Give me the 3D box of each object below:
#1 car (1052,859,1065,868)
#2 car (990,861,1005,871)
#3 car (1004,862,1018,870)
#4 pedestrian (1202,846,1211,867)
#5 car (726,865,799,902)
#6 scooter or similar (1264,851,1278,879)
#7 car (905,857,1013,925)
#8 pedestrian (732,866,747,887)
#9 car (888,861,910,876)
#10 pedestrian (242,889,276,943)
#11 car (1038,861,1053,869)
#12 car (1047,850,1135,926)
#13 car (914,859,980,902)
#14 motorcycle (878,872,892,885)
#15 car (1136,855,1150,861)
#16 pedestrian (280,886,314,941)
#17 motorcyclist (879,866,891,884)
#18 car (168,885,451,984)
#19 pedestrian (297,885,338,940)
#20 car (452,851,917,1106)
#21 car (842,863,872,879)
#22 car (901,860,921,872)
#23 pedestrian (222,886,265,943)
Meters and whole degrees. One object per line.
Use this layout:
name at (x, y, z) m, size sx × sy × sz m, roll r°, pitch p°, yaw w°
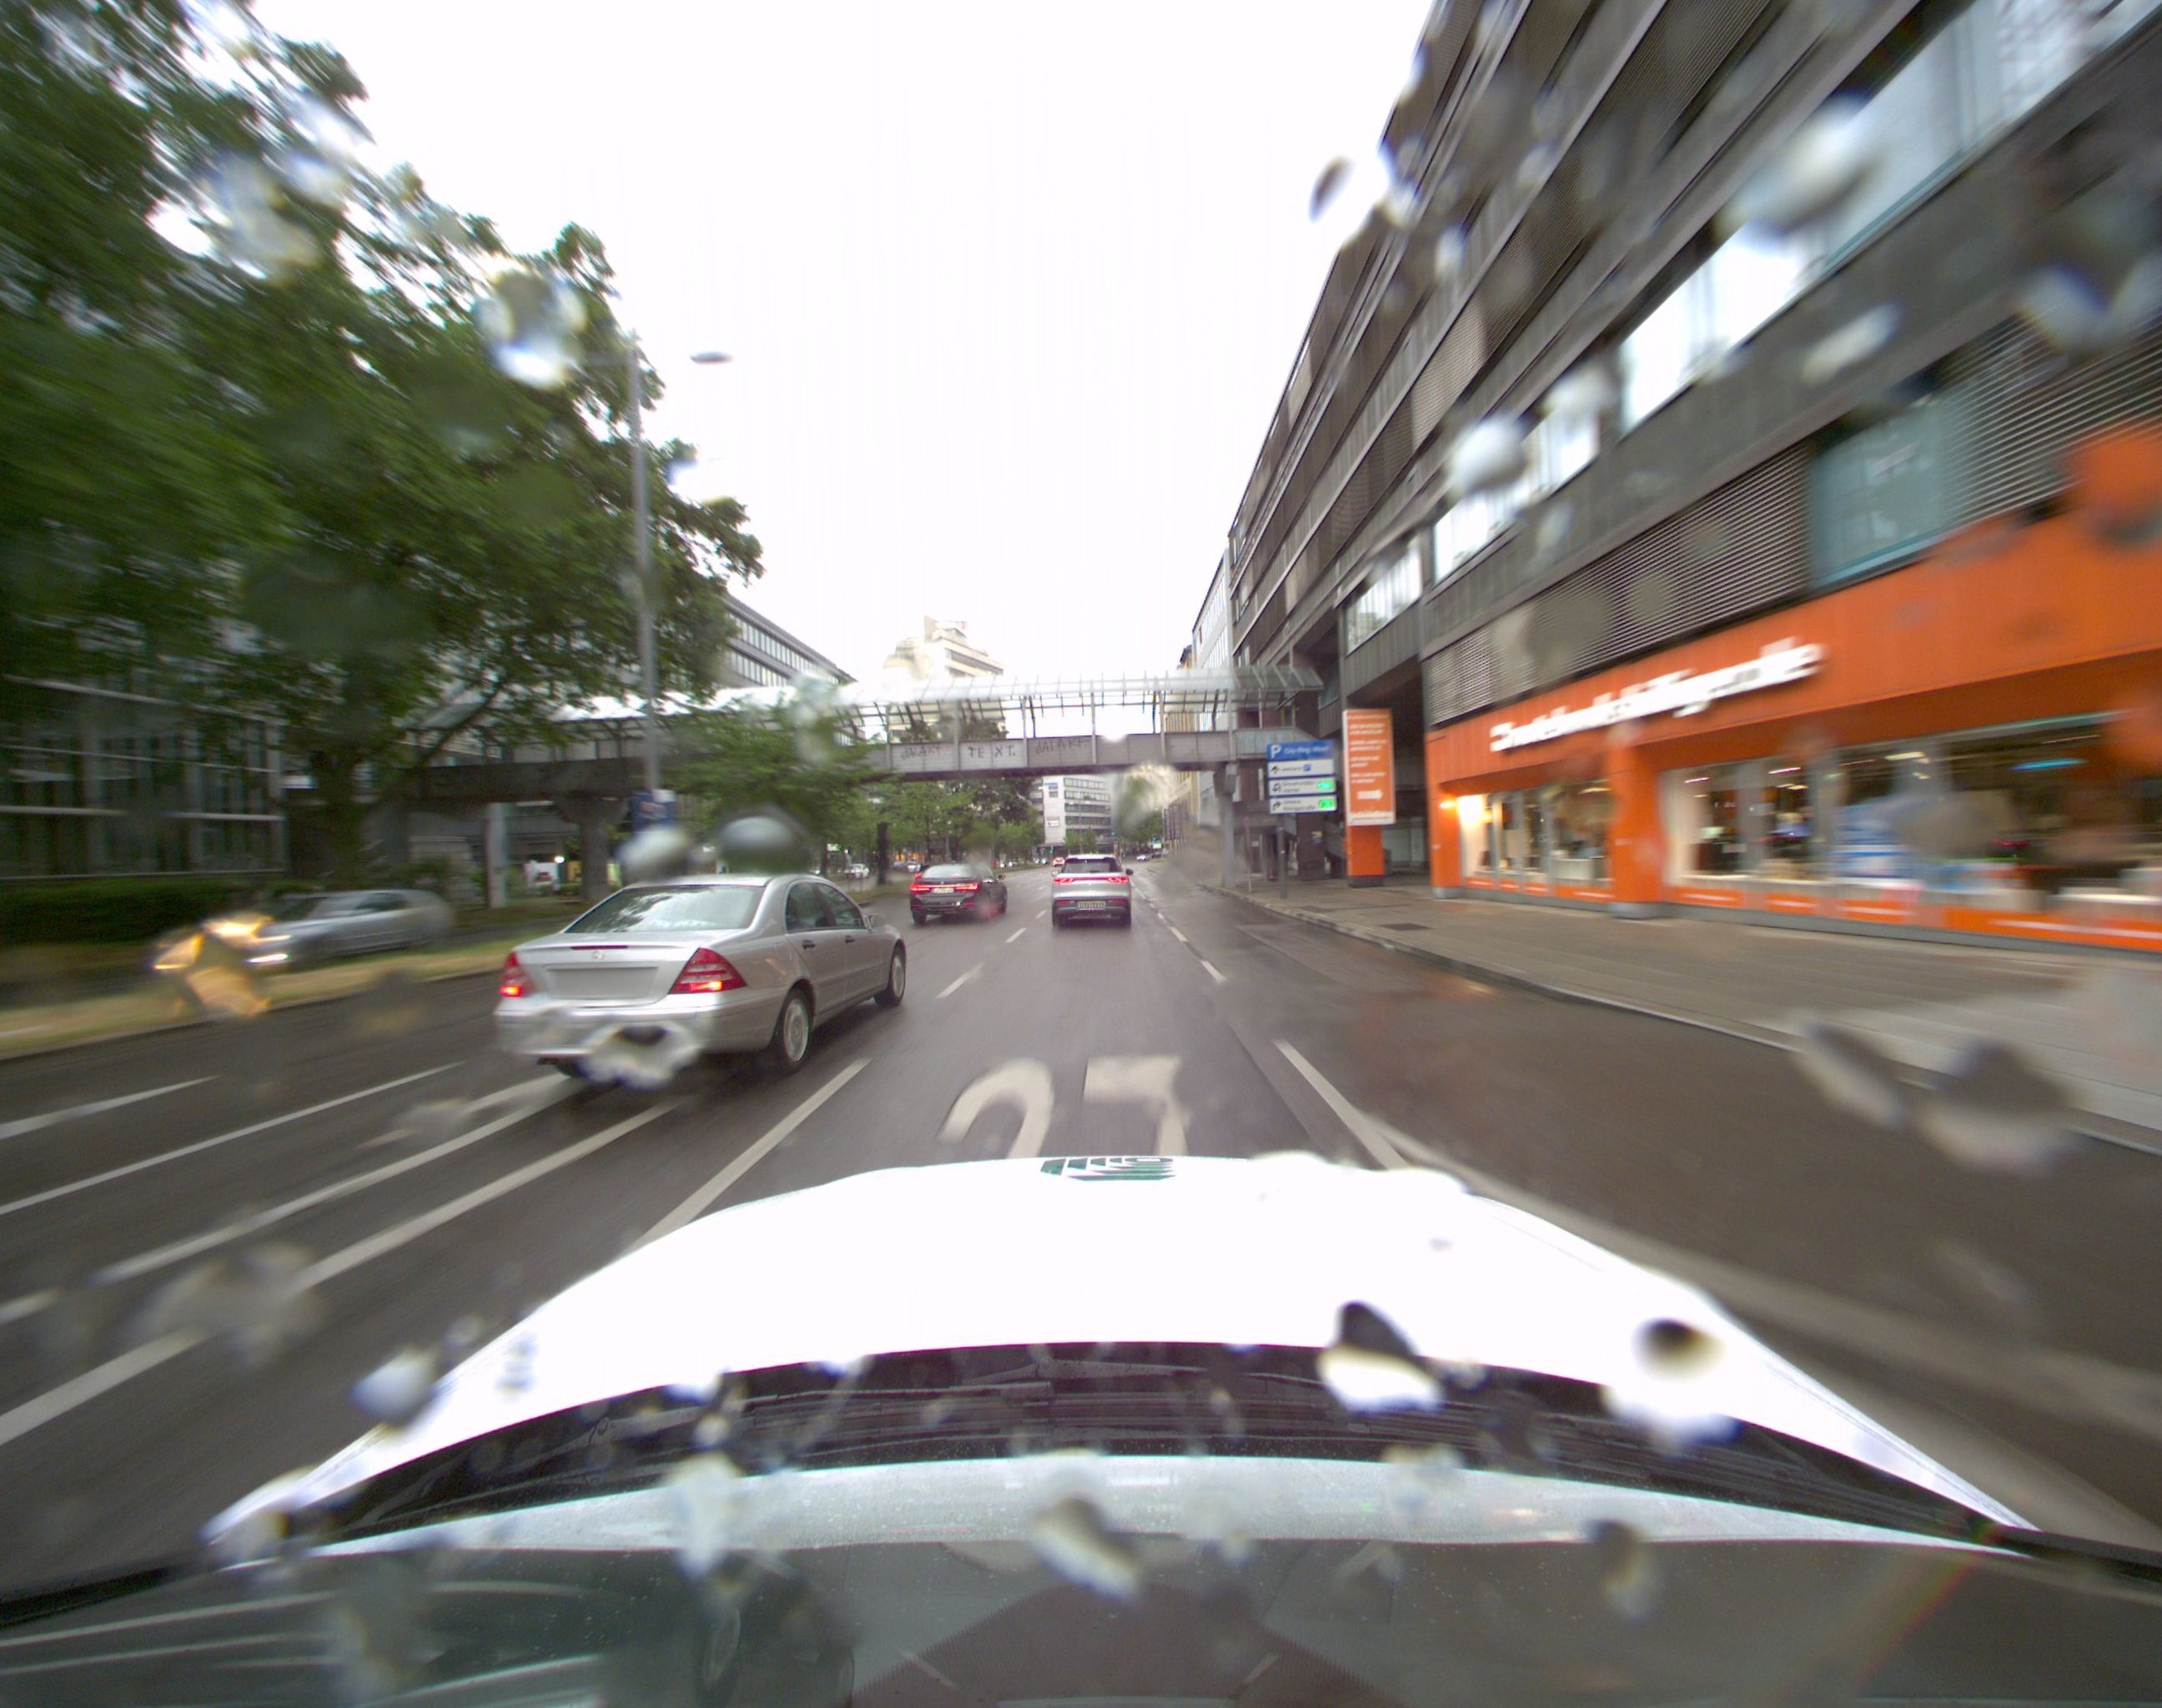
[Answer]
car at (-3.552, 1.474, 130.334) m, size 1.646 × 1.342 × 4.004 m, roll -2°, pitch 0°, yaw 3°
car at (-12.079, 1.700, 117.989) m, size 1.617 × 1.311 × 3.619 m, roll -2°, pitch -1°, yaw 2°
car at (-12.484, 2.143, 145.643) m, size 1.614 × 1.492 × 4.316 m, roll -2°, pitch -1°, yaw 8°
pedestrian at (10.458, 0.205, 67.947) m, size 0.633 × 1.772 × 0.790 m, roll -2°, pitch -1°, yaw 2°
car at (-17.979, 1.610, 46.280) m, size 1.994 × 1.768 × 5.184 m, roll -5°, pitch -1°, yaw 0°
scooter or similar at (8.872, 0.519, 38.029) m, size 0.348 × 1.256 × 1.395 m, roll -2°, pitch -1°, yaw 2°
car at (-3.083, 0.891, 21.628) m, size 1.865 × 1.479 × 4.882 m, roll -1°, pitch 1°, yaw 3°
pedestrian at (-28.938, 1.916, 69.079) m, size 0.740 × 1.715 × 1.057 m, roll -2°, pitch 0°, yaw 1°
car at (-21.369, 1.690, 95.886) m, size 1.618 × 1.611 × 4.231 m, roll -1°, pitch 0°, yaw 0°
pedestrian at (-26.926, 2.021, 26.690) m, size 0.557 × 1.686 × 0.511 m, roll -2°, pitch 0°, yaw 1°
car at (-7.077, 2.171, 162.572) m, size 1.611 × 1.453 × 4.180 m, roll -3°, pitch -1°, yaw 17°
car at (0.277, 0.760, 19.725) m, size 1.894 × 1.621 × 4.001 m, roll -1°, pitch -1°, yaw 1°
car at (-5.076, 0.998, 31.368) m, size 1.768 × 1.457 × 4.000 m, roll -2°, pitch -1°, yaw 1°
motorcycle at (-15.853, 1.969, 65.790) m, size 0.582 × 1.021 × 1.806 m, roll -2°, pitch 0°, yaw 2°
car at (15.247, 1.023, 200.603) m, size 1.565 × 1.539 × 4.025 m, roll -2°, pitch 0°, yaw 32°
pedestrian at (-26.341, 1.984, 27.357) m, size 0.603 × 1.807 × 0.511 m, roll -2°, pitch 0°, yaw 1°
motorcyclist at (-15.862, 1.726, 65.820) m, size 0.635 × 1.418 × 0.970 m, roll -2°, pitch -1°, yaw 2°
car at (-14.810, 1.458, 16.011) m, size 1.657 × 1.464 × 4.079 m, roll -4°, pitch -1°, yaw -1°
pedestrian at (-25.763, 1.962, 27.478) m, size 0.594 × 1.807 × 0.760 m, roll -2°, pitch 0°, yaw 2°
car at (-2.803, 0.779, 7.007) m, size 1.665 × 1.479 × 4.363 m, roll -1°, pitch -1°, yaw 3°
car at (-21.730, 1.676, 79.050) m, size 1.618 × 1.433 × 4.444 m, roll -2°, pitch -1°, yaw 0°
car at (-21.281, 1.481, 102.025) m, size 1.618 × 1.460 × 3.962 m, roll -1°, pitch 0°, yaw 0°
pedestrian at (-27.594, 1.975, 26.835) m, size 0.720 × 1.807 × 0.618 m, roll -2°, pitch 0°, yaw 1°
